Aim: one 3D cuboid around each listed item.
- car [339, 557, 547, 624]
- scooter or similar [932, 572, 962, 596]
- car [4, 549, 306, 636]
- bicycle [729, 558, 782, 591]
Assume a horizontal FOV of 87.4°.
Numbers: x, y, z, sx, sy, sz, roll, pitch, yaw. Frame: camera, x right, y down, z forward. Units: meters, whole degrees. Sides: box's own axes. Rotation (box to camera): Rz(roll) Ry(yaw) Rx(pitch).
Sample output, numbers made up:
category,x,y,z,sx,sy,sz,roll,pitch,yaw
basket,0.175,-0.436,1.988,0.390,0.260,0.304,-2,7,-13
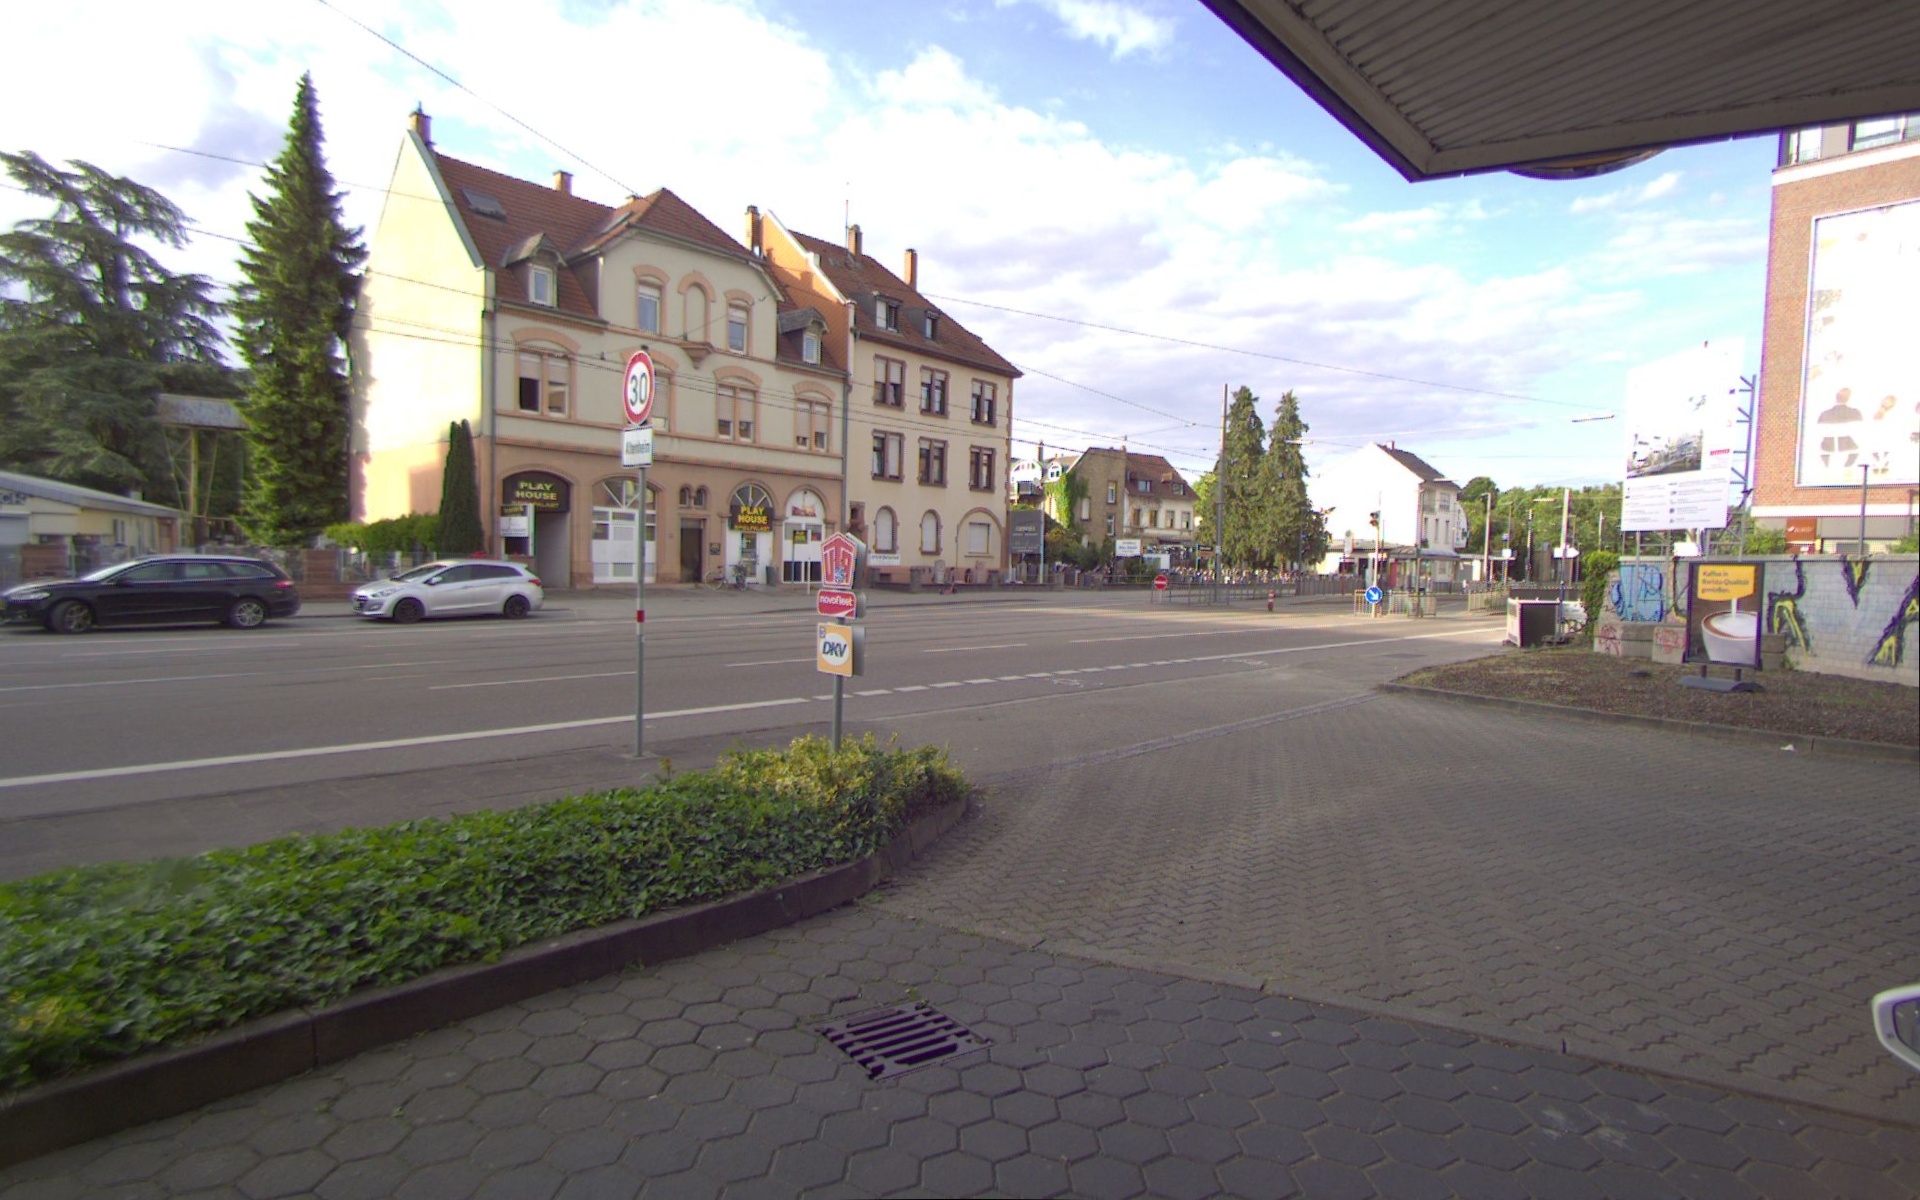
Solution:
category,x,y,z,sx,sy,sz,roll,pitch,yaw
car,-12.942,-0.254,25.341,1.718,1.502,4.357,3,2,41
scooter or similar,-0.578,-0.723,45.077,0.437,1.006,1.460,6,5,41
car,-16.500,-0.177,20.802,1.827,1.542,4.642,5,4,40
bicycle,-8.260,-1.009,40.612,0.741,1.219,2.011,8,5,41
